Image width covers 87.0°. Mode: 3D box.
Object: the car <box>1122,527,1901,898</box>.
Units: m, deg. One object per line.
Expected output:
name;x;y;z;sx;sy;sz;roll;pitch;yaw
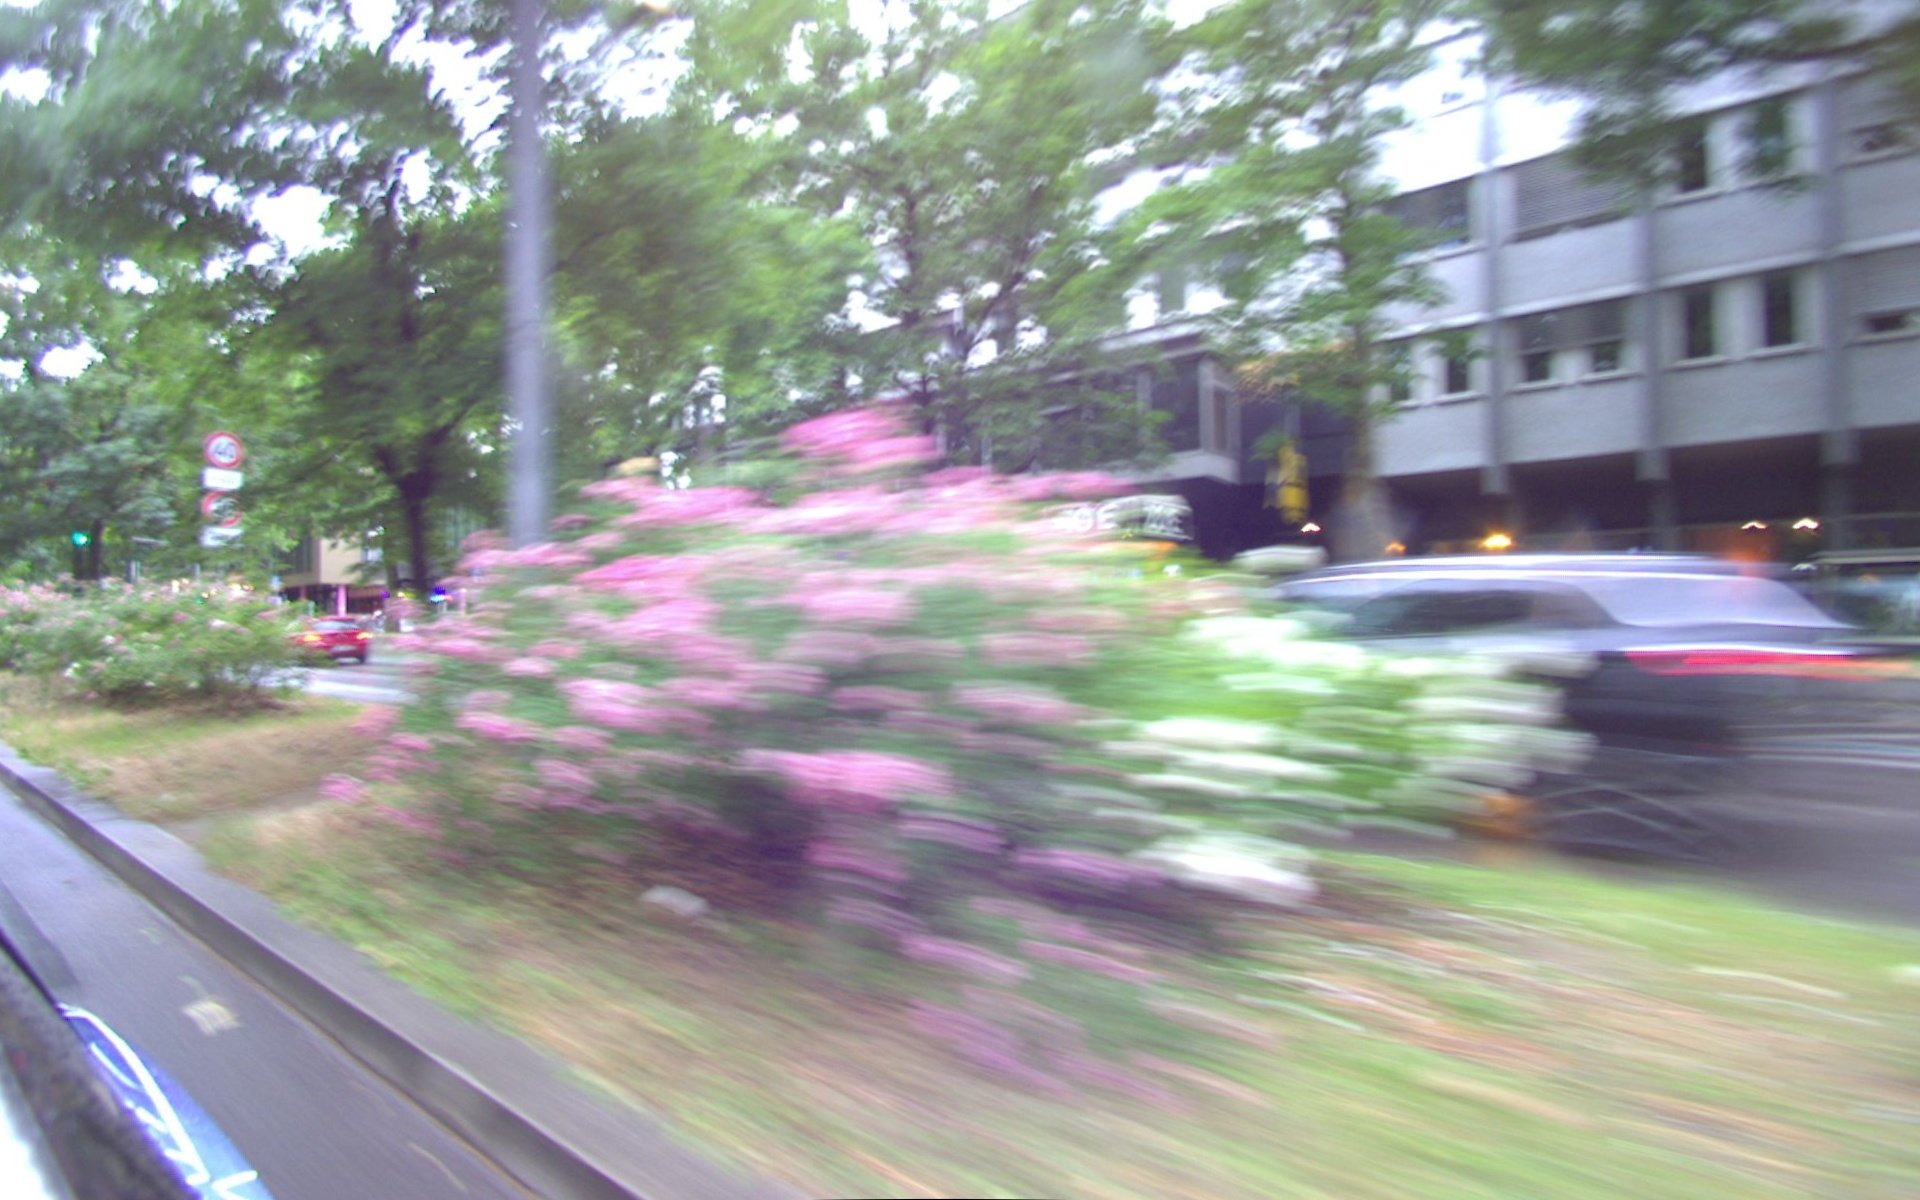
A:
car;3.214;0.524;6.475;4.012;1.650;1.704;-1;0;41

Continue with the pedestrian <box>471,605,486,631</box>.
pedestrian;-27.824;1.023;58.516;0.559;1.476;0.561;-1;-1;36

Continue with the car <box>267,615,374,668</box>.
car;-19.133;1.209;30.227;4.032;1.476;1.621;-1;-1;41
